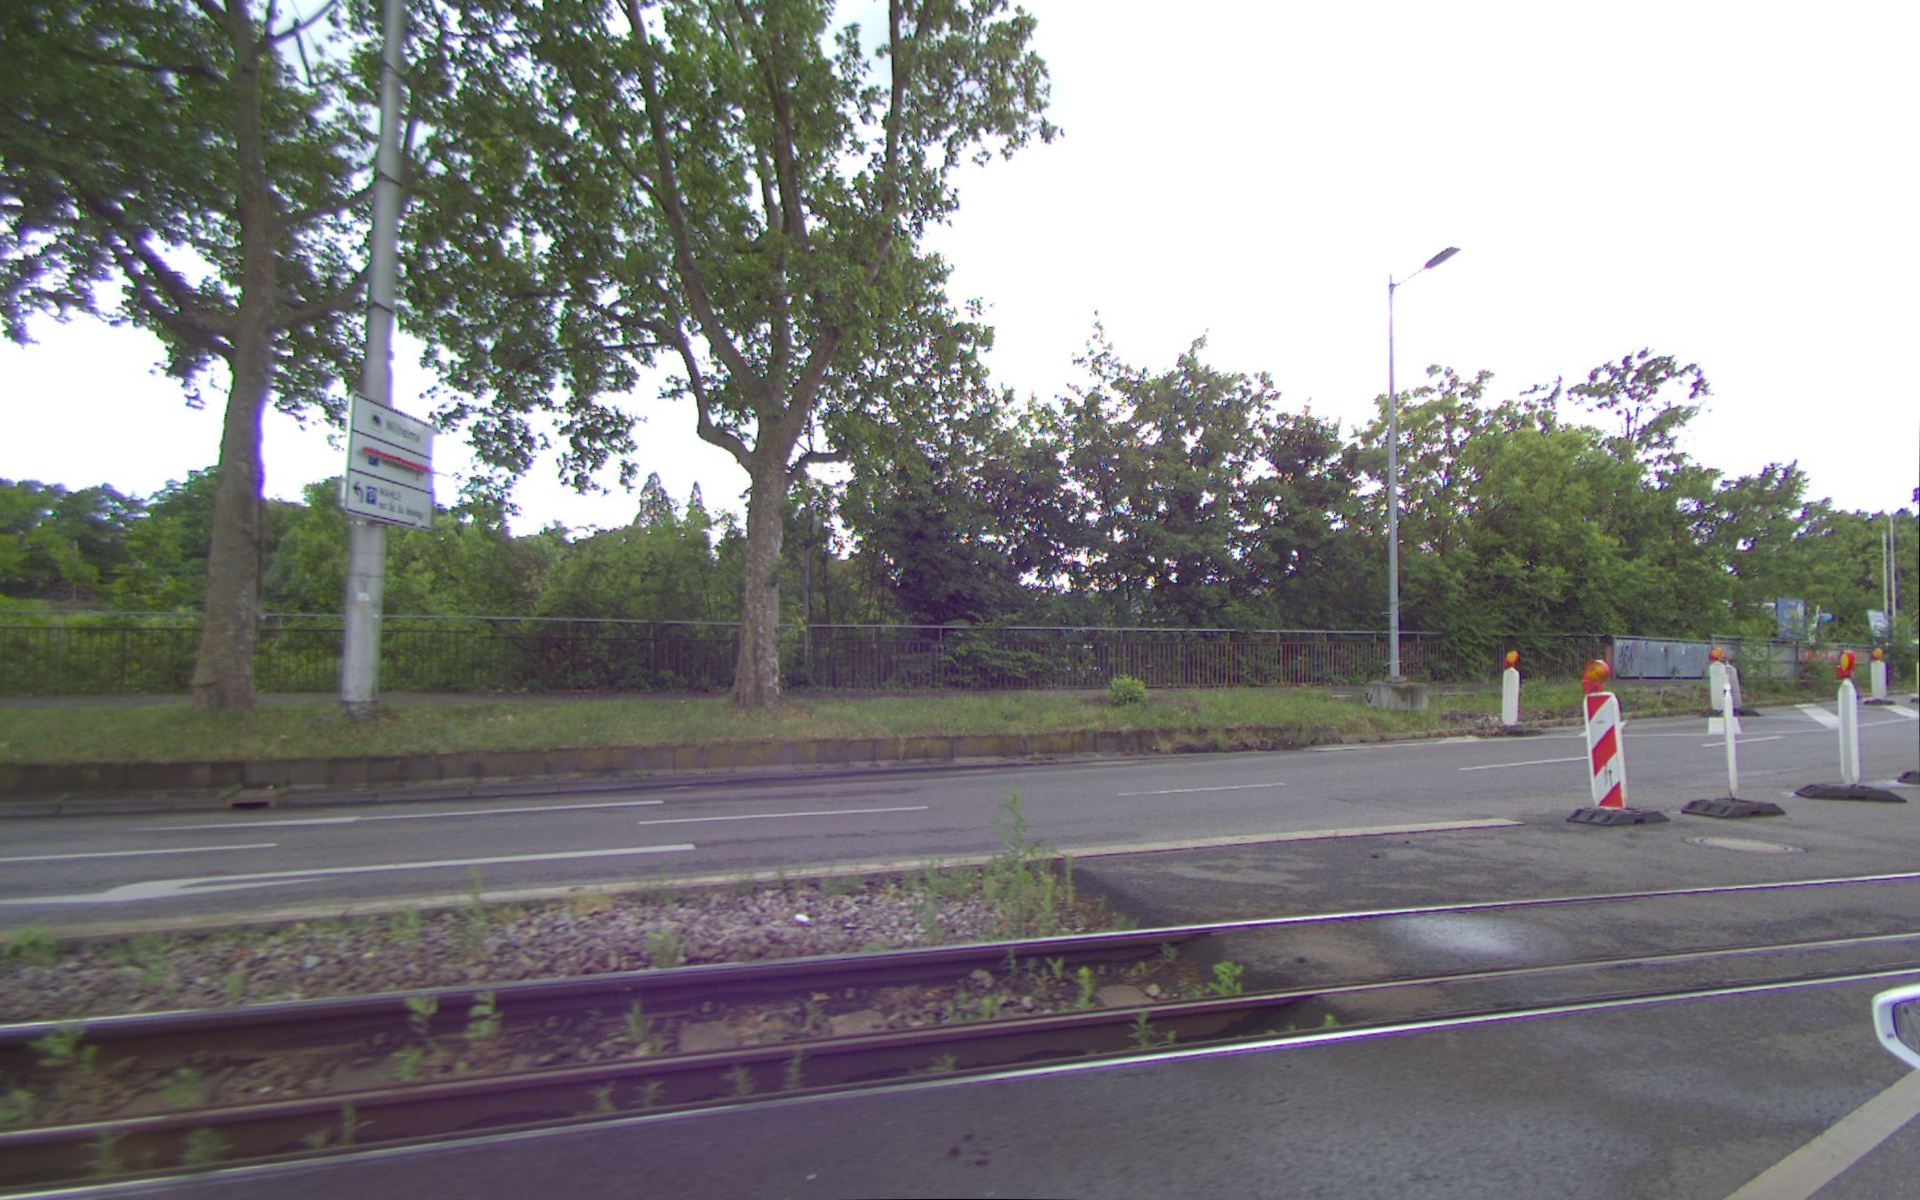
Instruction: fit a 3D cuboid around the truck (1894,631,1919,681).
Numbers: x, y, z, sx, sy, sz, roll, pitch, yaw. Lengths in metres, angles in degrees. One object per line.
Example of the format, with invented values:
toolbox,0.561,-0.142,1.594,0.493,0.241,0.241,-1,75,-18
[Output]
truck,67.952,3.980,70.733,2.761,3.379,8.436,-4,-5,41
